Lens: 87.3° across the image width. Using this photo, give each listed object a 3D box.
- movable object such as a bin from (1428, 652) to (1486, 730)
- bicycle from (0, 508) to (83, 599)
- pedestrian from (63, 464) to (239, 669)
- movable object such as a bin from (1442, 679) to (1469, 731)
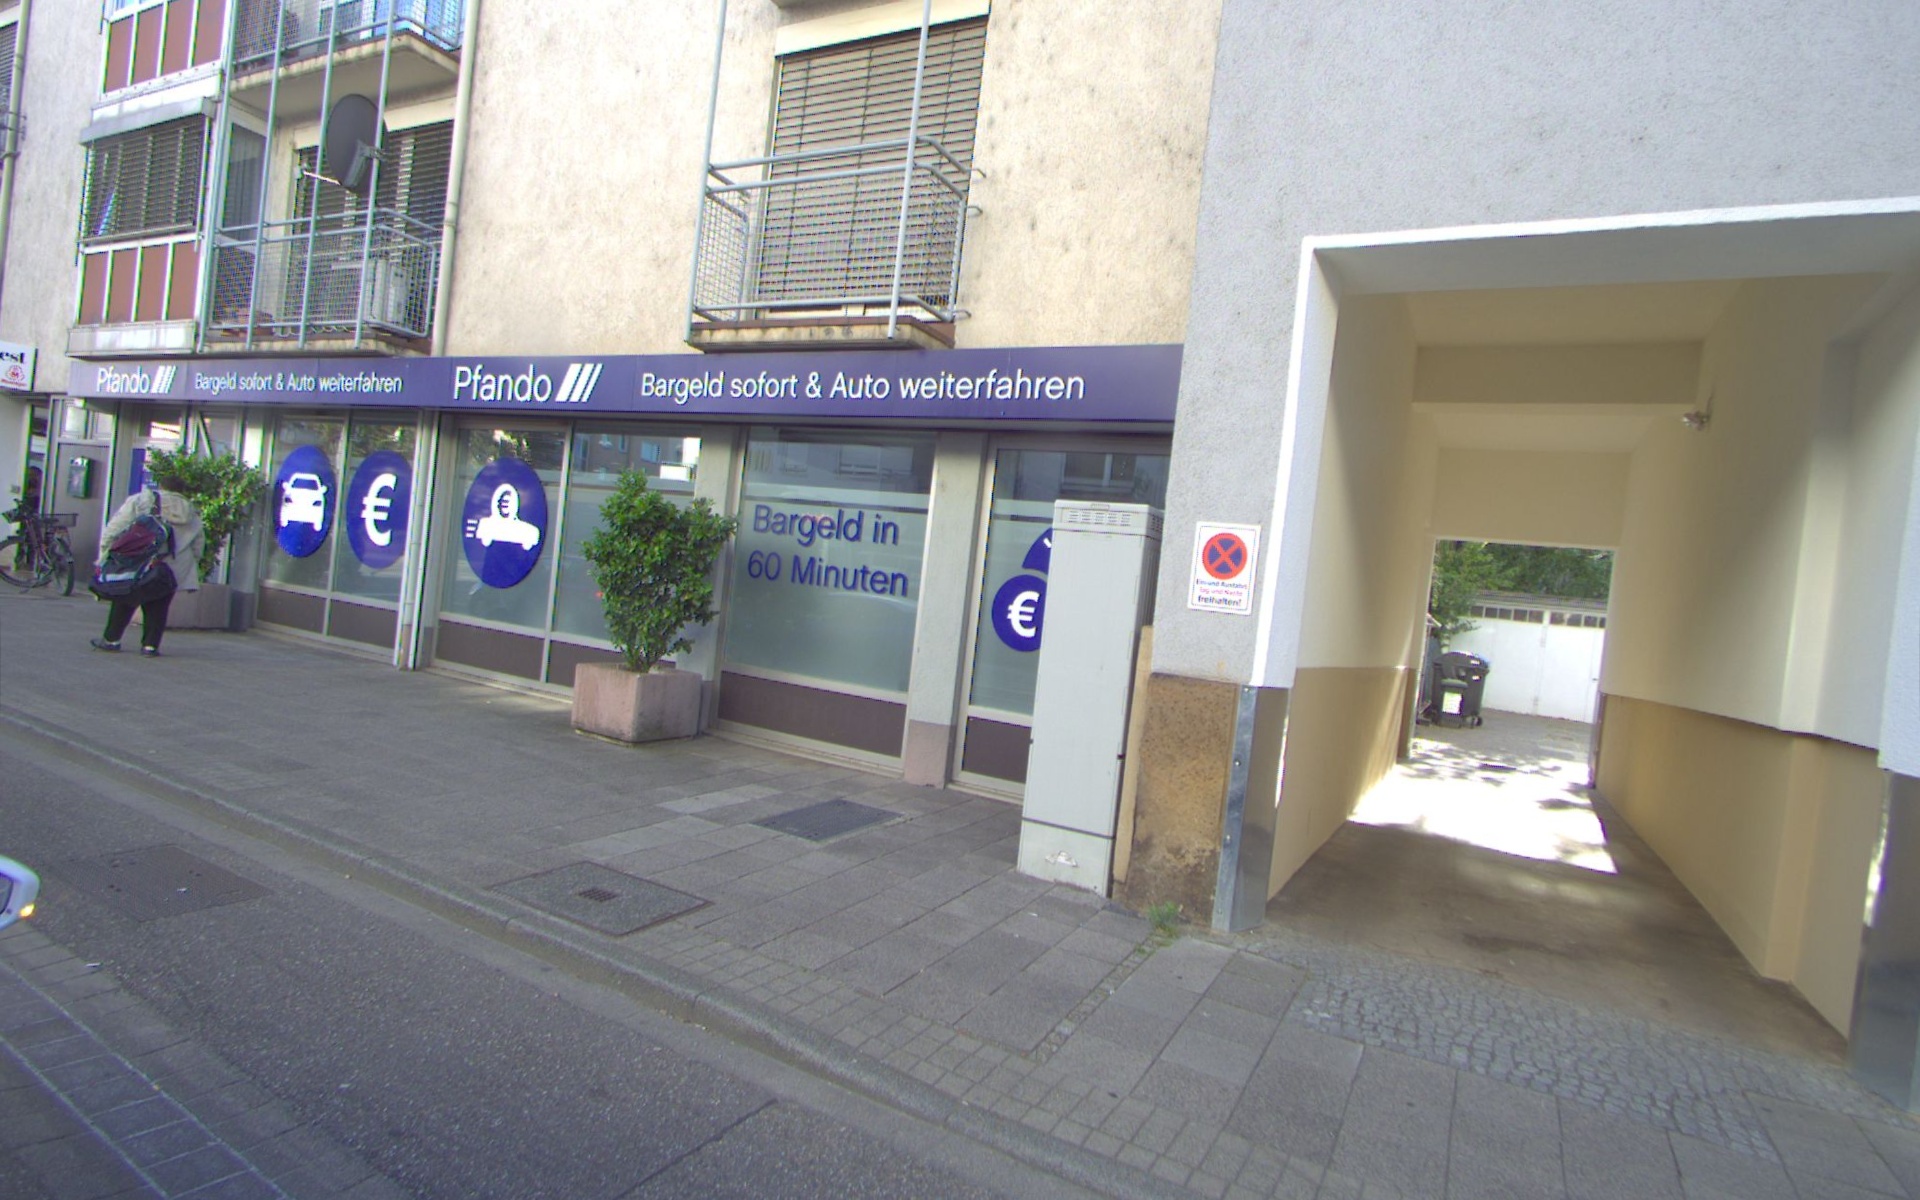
[{"bbox_3d":[9.867,1.782,19.947,0.873,1.411,0.758,7,2,28],"label":"movable object such as a bin"},{"bbox_3d":[-11.946,-0.618,12.859,1.678,1.010,0.543,6,-1,32],"label":"bicycle"},{"bbox_3d":[-6.926,-0.276,8.633,0.738,1.611,0.827,6,-1,31],"label":"pedestrian"},{"bbox_3d":[9.516,2.013,19.317,0.365,0.920,0.420,7,2,28],"label":"movable object such as a bin"}]
